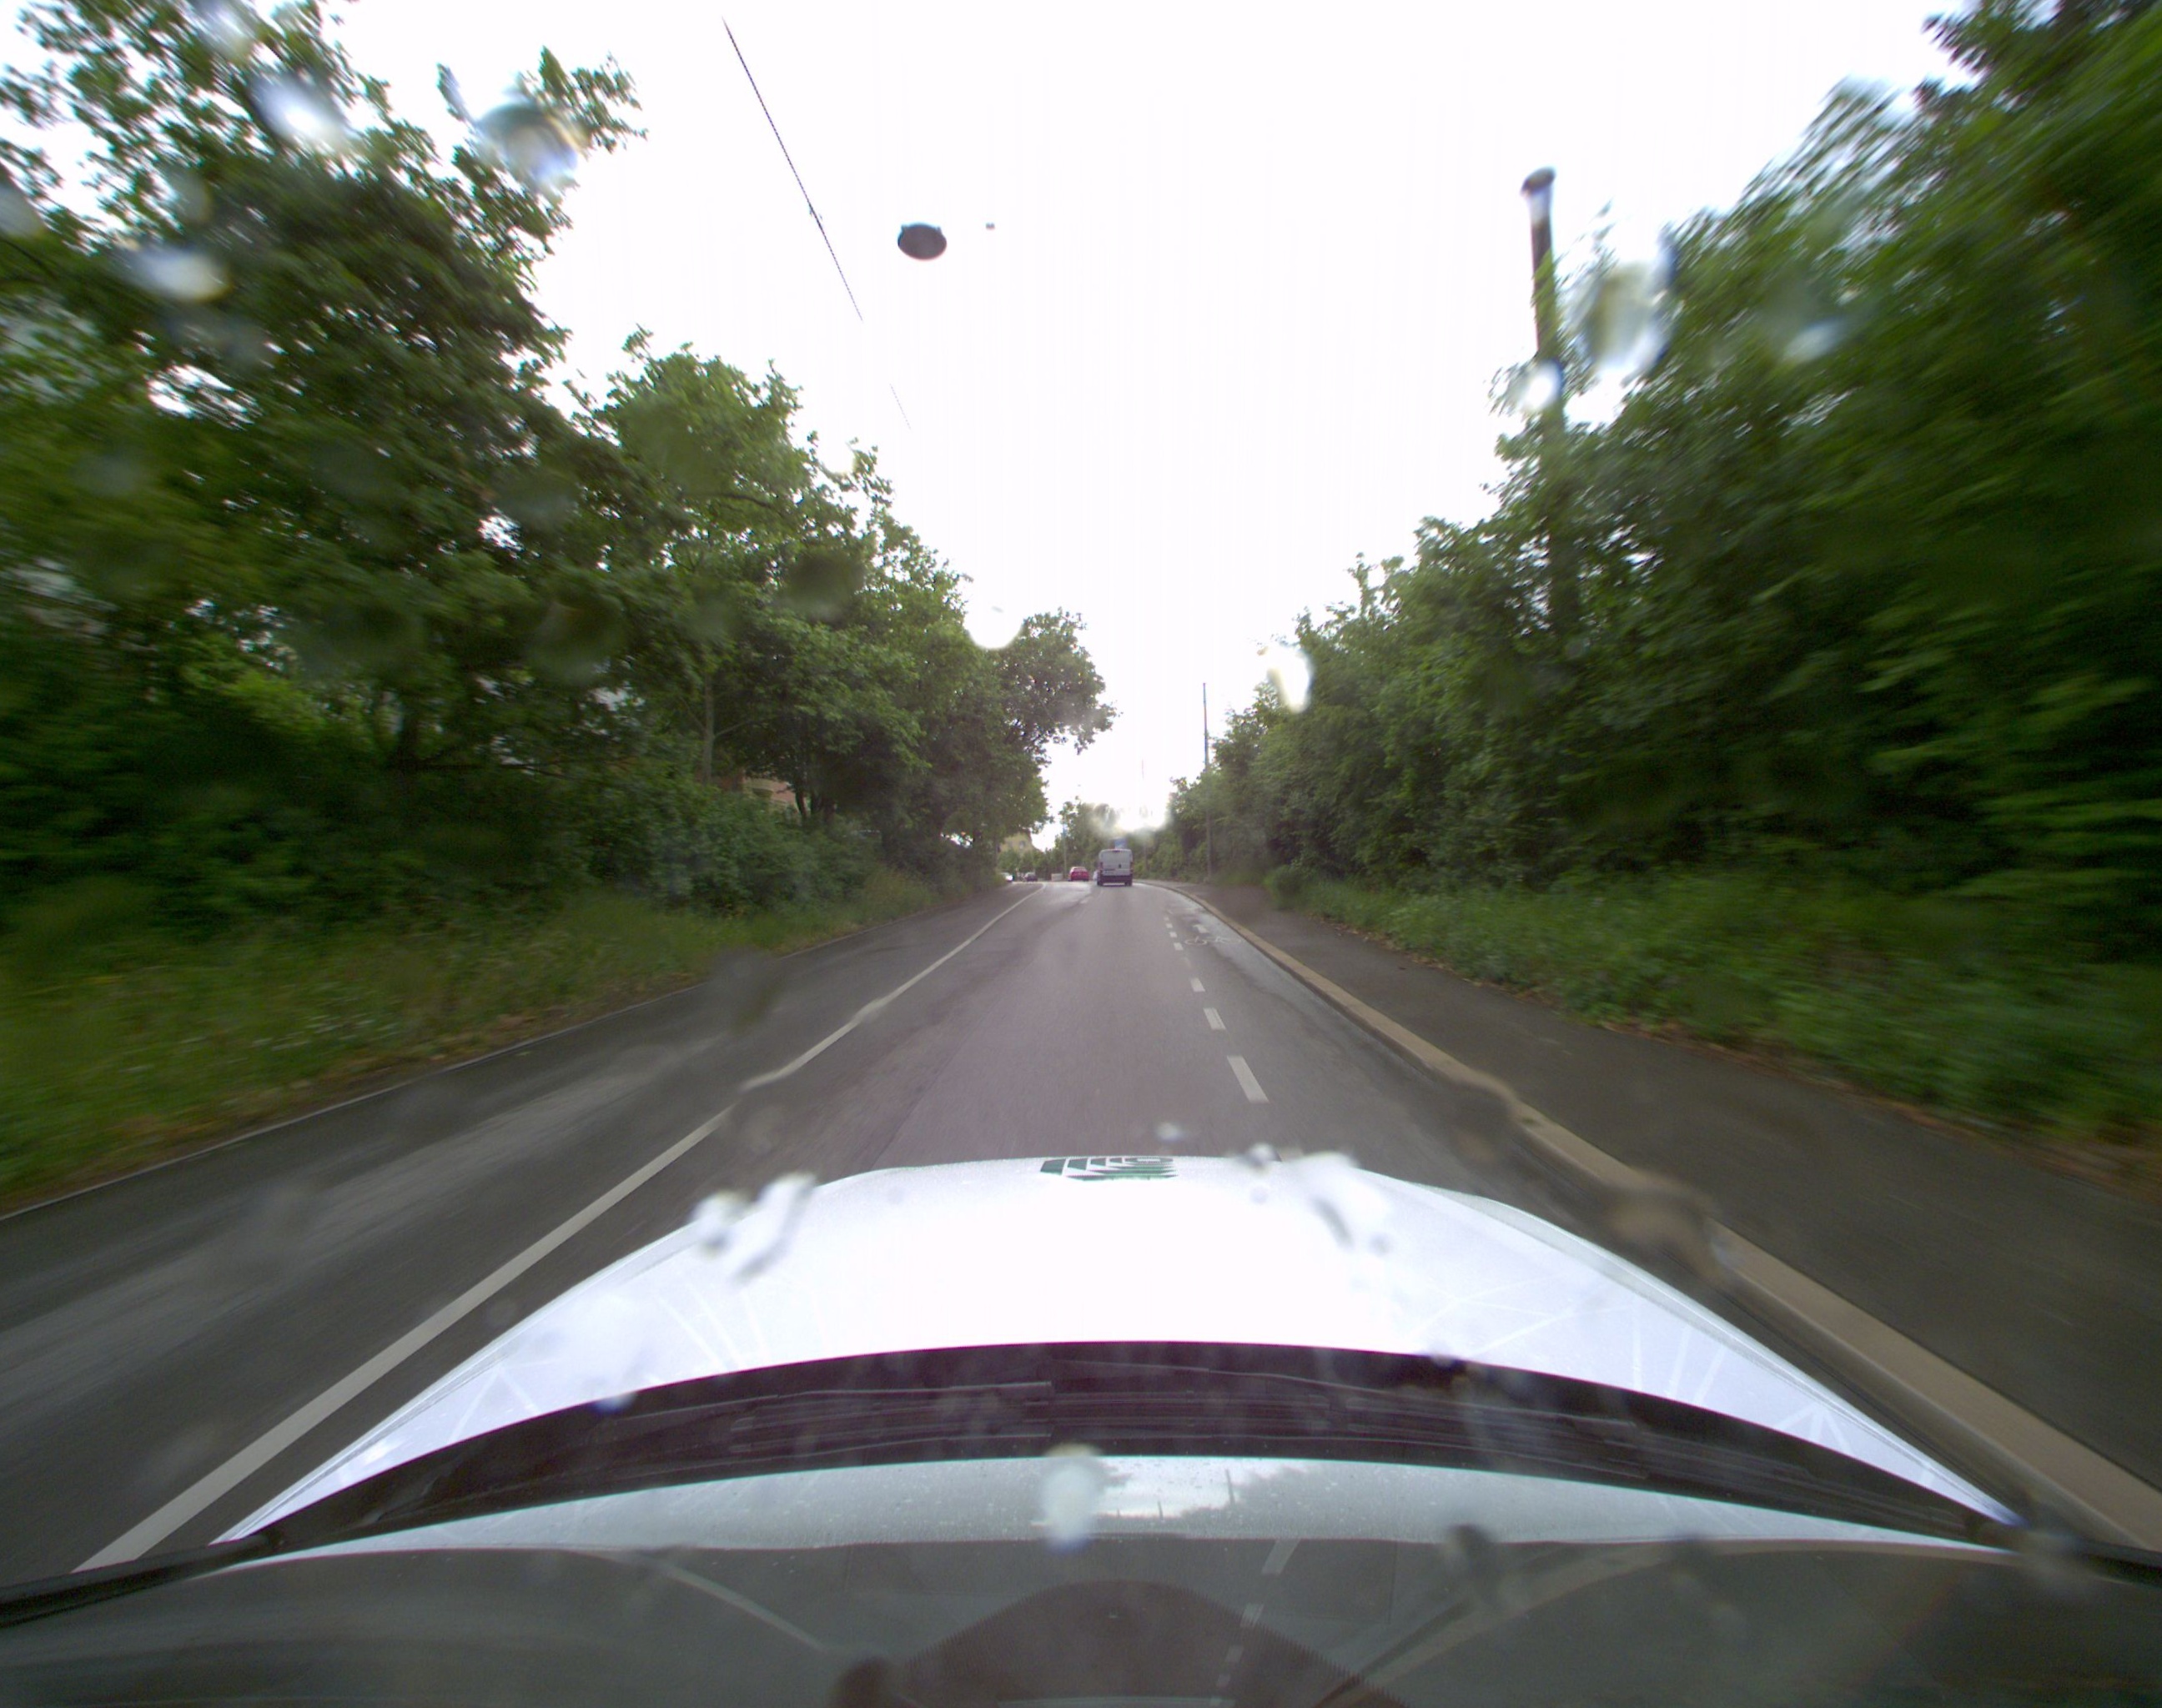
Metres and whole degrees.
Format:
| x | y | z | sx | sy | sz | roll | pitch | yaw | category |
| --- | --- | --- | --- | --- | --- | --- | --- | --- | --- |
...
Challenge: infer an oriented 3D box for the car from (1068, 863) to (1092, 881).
| x | y | z | sx | sy | sz | roll | pitch | yaw | category |
| --- | --- | --- | --- | --- | --- | --- | --- | --- | --- |
| -0.114 | 1.748 | 78.883 | 2.231 | 1.657 | 4.710 | 0 | 0 | -2 | car |

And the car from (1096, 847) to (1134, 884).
| x | y | z | sx | sy | sz | roll | pitch | yaw | category |
| --- | --- | --- | --- | --- | --- | --- | --- | --- | --- |
| 2.079 | 0.718 | 51.788 | 2.230 | 2.213 | 4.713 | 0 | 0 | 0 | car |

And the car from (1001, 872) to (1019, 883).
| x | y | z | sx | sy | sz | roll | pitch | yaw | category |
| --- | --- | --- | --- | --- | --- | --- | --- | --- | --- |
| -9.559 | 3.187 | 109.626 | 2.070 | 1.353 | 4.698 | 0 | 0 | -9 | car |

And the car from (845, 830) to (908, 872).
| x | y | z | sx | sy | sz | roll | pitch | yaw | category |
| --- | --- | --- | --- | --- | --- | --- | --- | --- | --- |
| -10.276 | -0.119 | 41.269 | 1.987 | 2.014 | 4.626 | 0 | 0 | 0 | car |

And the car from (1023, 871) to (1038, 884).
| x | y | z | sx | sy | sz | roll | pitch | yaw | category |
| --- | --- | --- | --- | --- | --- | --- | --- | --- | --- |
| -7.620 | 3.461 | 122.661 | 2.234 | 1.804 | 4.704 | 0 | 0 | -5 | car |
